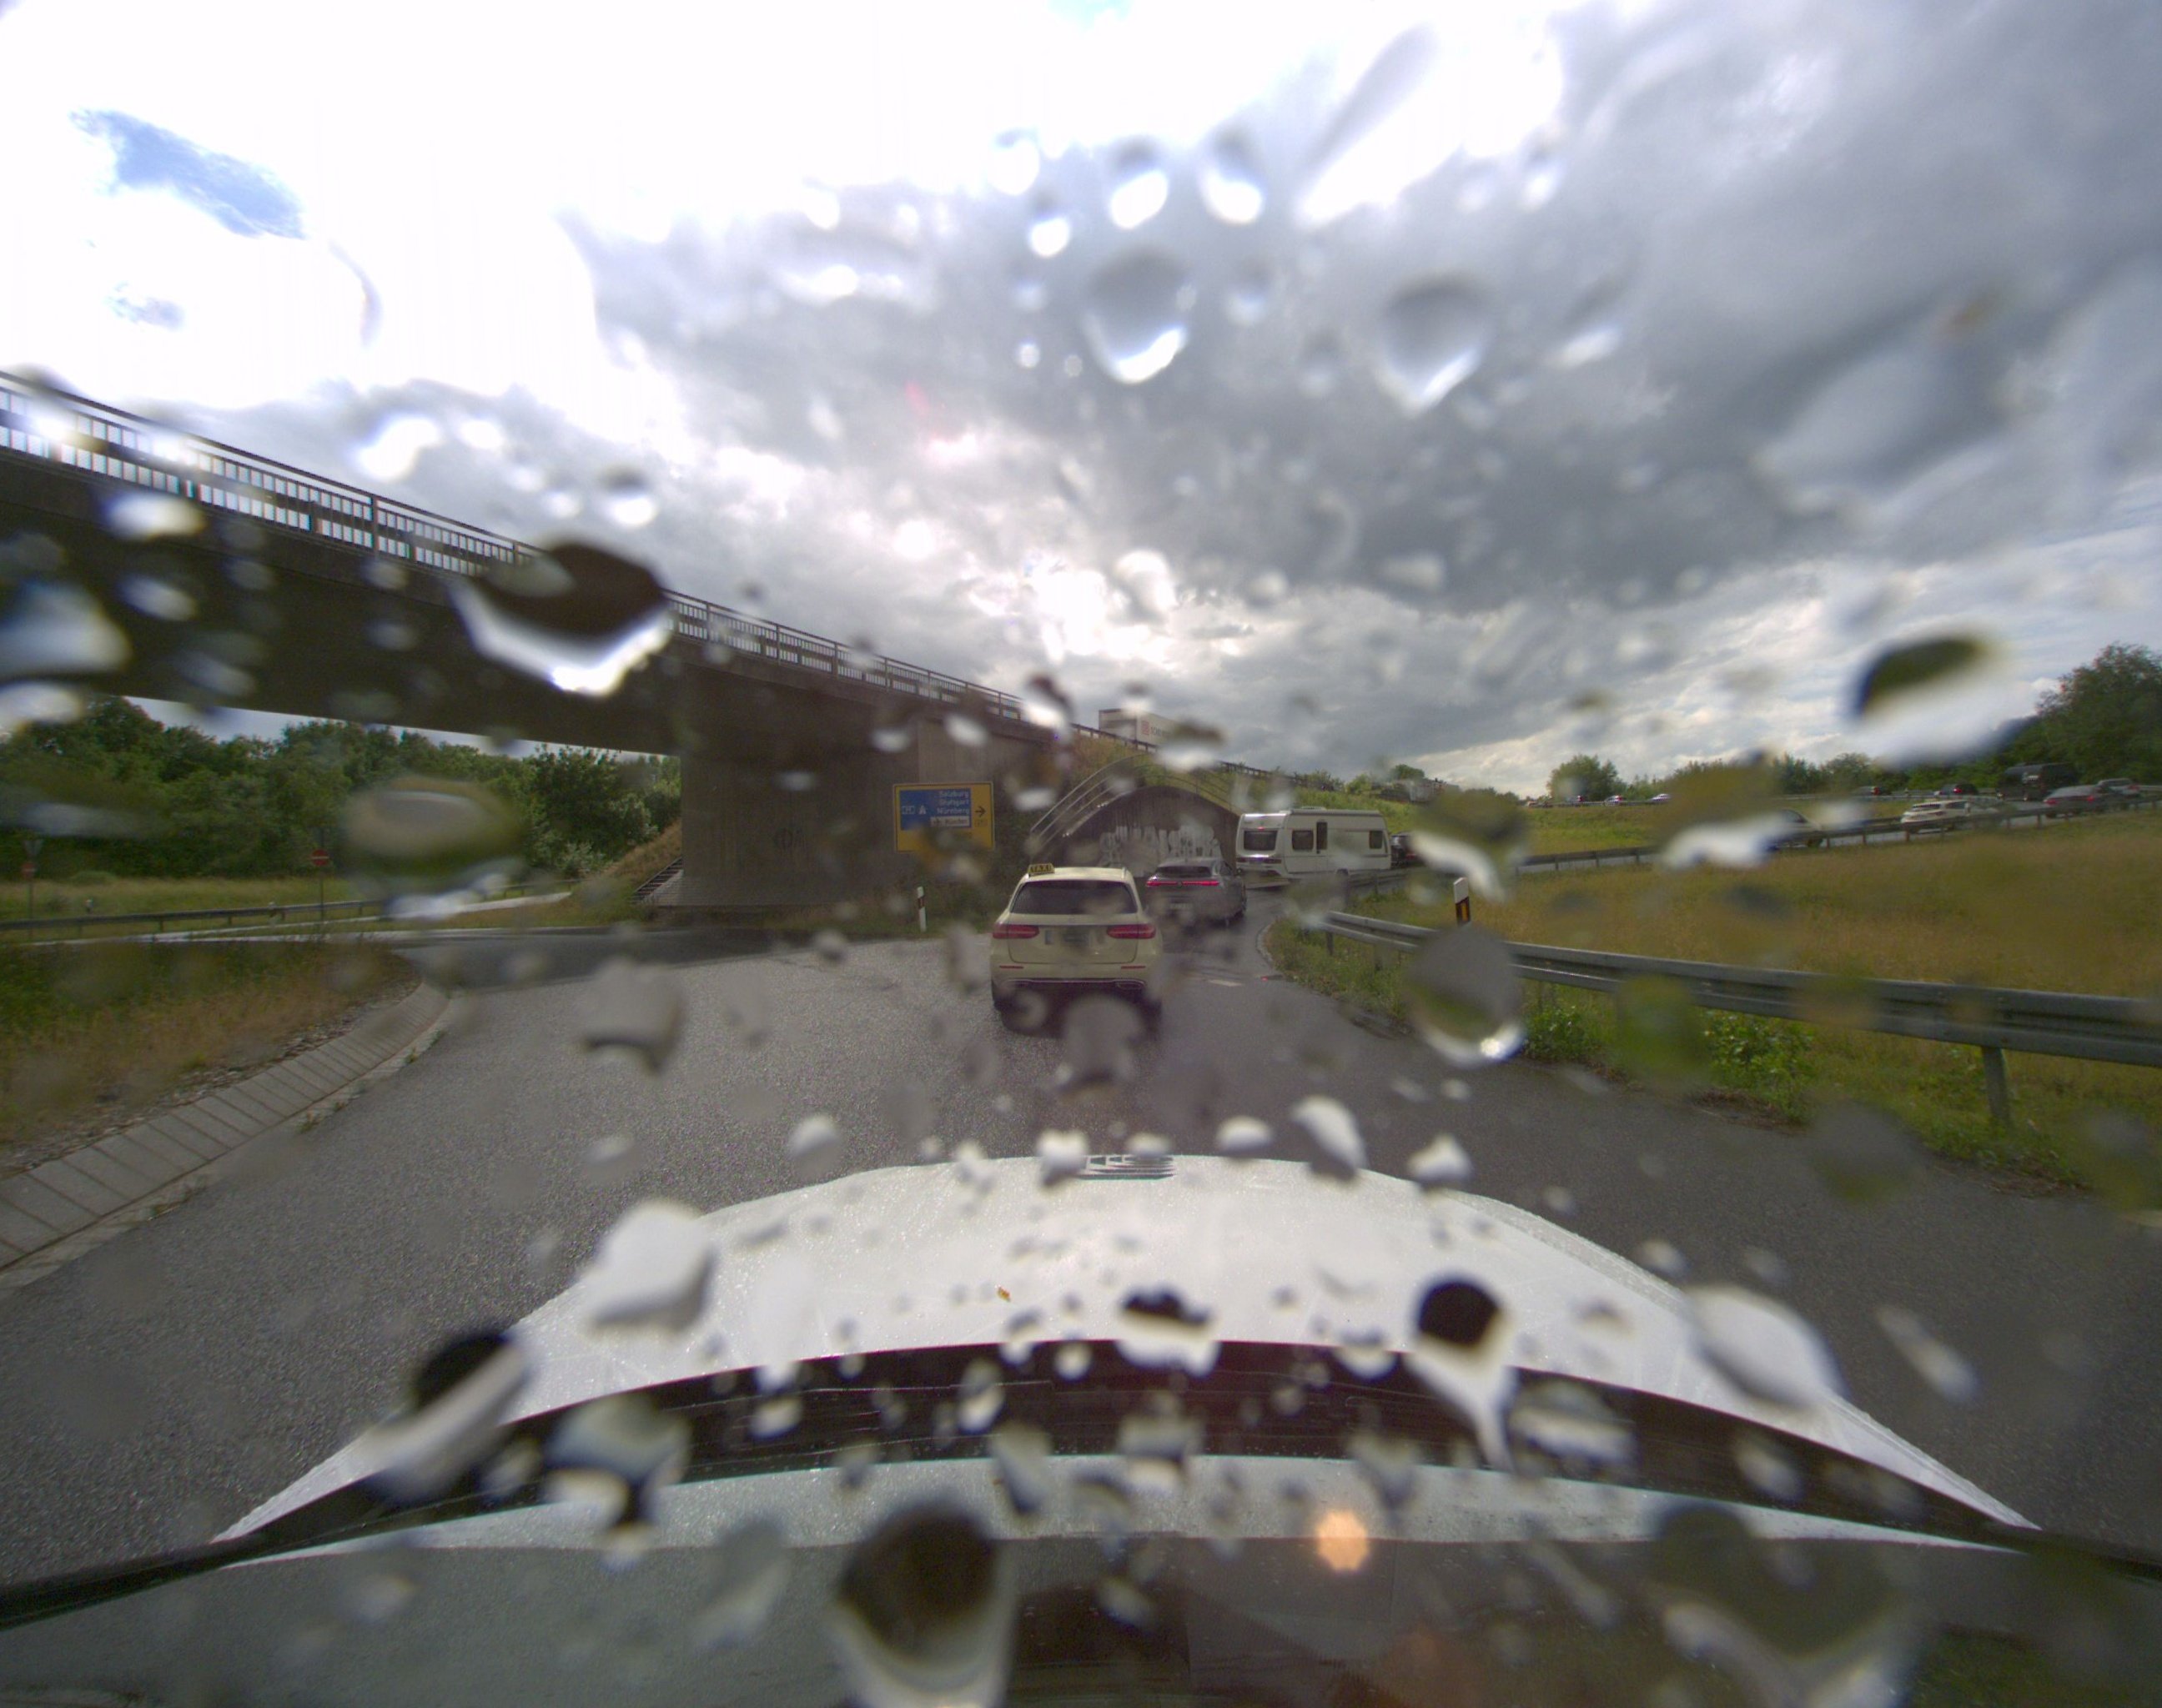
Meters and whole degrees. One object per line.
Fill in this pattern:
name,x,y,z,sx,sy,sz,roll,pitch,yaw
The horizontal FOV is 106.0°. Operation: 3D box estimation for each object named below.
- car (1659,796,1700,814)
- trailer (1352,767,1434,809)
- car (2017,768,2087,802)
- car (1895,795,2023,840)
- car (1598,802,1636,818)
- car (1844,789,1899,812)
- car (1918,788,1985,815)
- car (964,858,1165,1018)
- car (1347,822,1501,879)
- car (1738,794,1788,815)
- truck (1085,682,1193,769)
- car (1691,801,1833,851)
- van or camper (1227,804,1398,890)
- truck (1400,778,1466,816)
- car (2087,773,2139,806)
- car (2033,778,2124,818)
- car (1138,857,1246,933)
car,75.652,-6.138,103.018,1.993,2.014,3.987,0,0,-9
trailer,41.654,-8.526,107.859,4.370,3.956,20.346,-1,0,38
car,70.464,-4.970,59.167,1.974,2.014,4.025,-1,0,30
car,41.905,-1.742,38.892,5.050,1.861,1.990,-2,0,-15
car,73.967,-6.073,112.393,2.001,2.014,3.972,-2,-1,-21
car,77.806,-5.235,80.213,1.981,2.013,4.012,-3,1,10
car,74.555,-4.476,69.795,1.980,2.013,4.015,-2,0,13
car,0.011,0.835,10.097,1.907,1.507,4.601,-1,-1,4
car,13.372,-0.183,31.687,5.774,1.925,2.414,-3,1,-28
car,76.834,-5.548,91.859,1.993,2.014,3.987,0,0,-9
truck,3.889,-7.886,51.618,3.150,3.966,9.293,-1,0,29
car,28.771,-1.186,34.463,5.048,1.861,1.990,-2,0,-14
van or camper,8.192,-0.344,28.568,6.025,2.729,2.413,-2,2,-34
truck,53.628,-8.452,123.320,4.417,4.503,19.499,-1,0,38
car,63.607,-3.935,50.241,5.085,1.784,1.646,-2,0,-41
car,51.446,-2.881,41.991,5.070,1.861,1.982,-2,0,-28
car,2.623,0.848,18.452,1.704,1.525,4.018,-1,-1,18
